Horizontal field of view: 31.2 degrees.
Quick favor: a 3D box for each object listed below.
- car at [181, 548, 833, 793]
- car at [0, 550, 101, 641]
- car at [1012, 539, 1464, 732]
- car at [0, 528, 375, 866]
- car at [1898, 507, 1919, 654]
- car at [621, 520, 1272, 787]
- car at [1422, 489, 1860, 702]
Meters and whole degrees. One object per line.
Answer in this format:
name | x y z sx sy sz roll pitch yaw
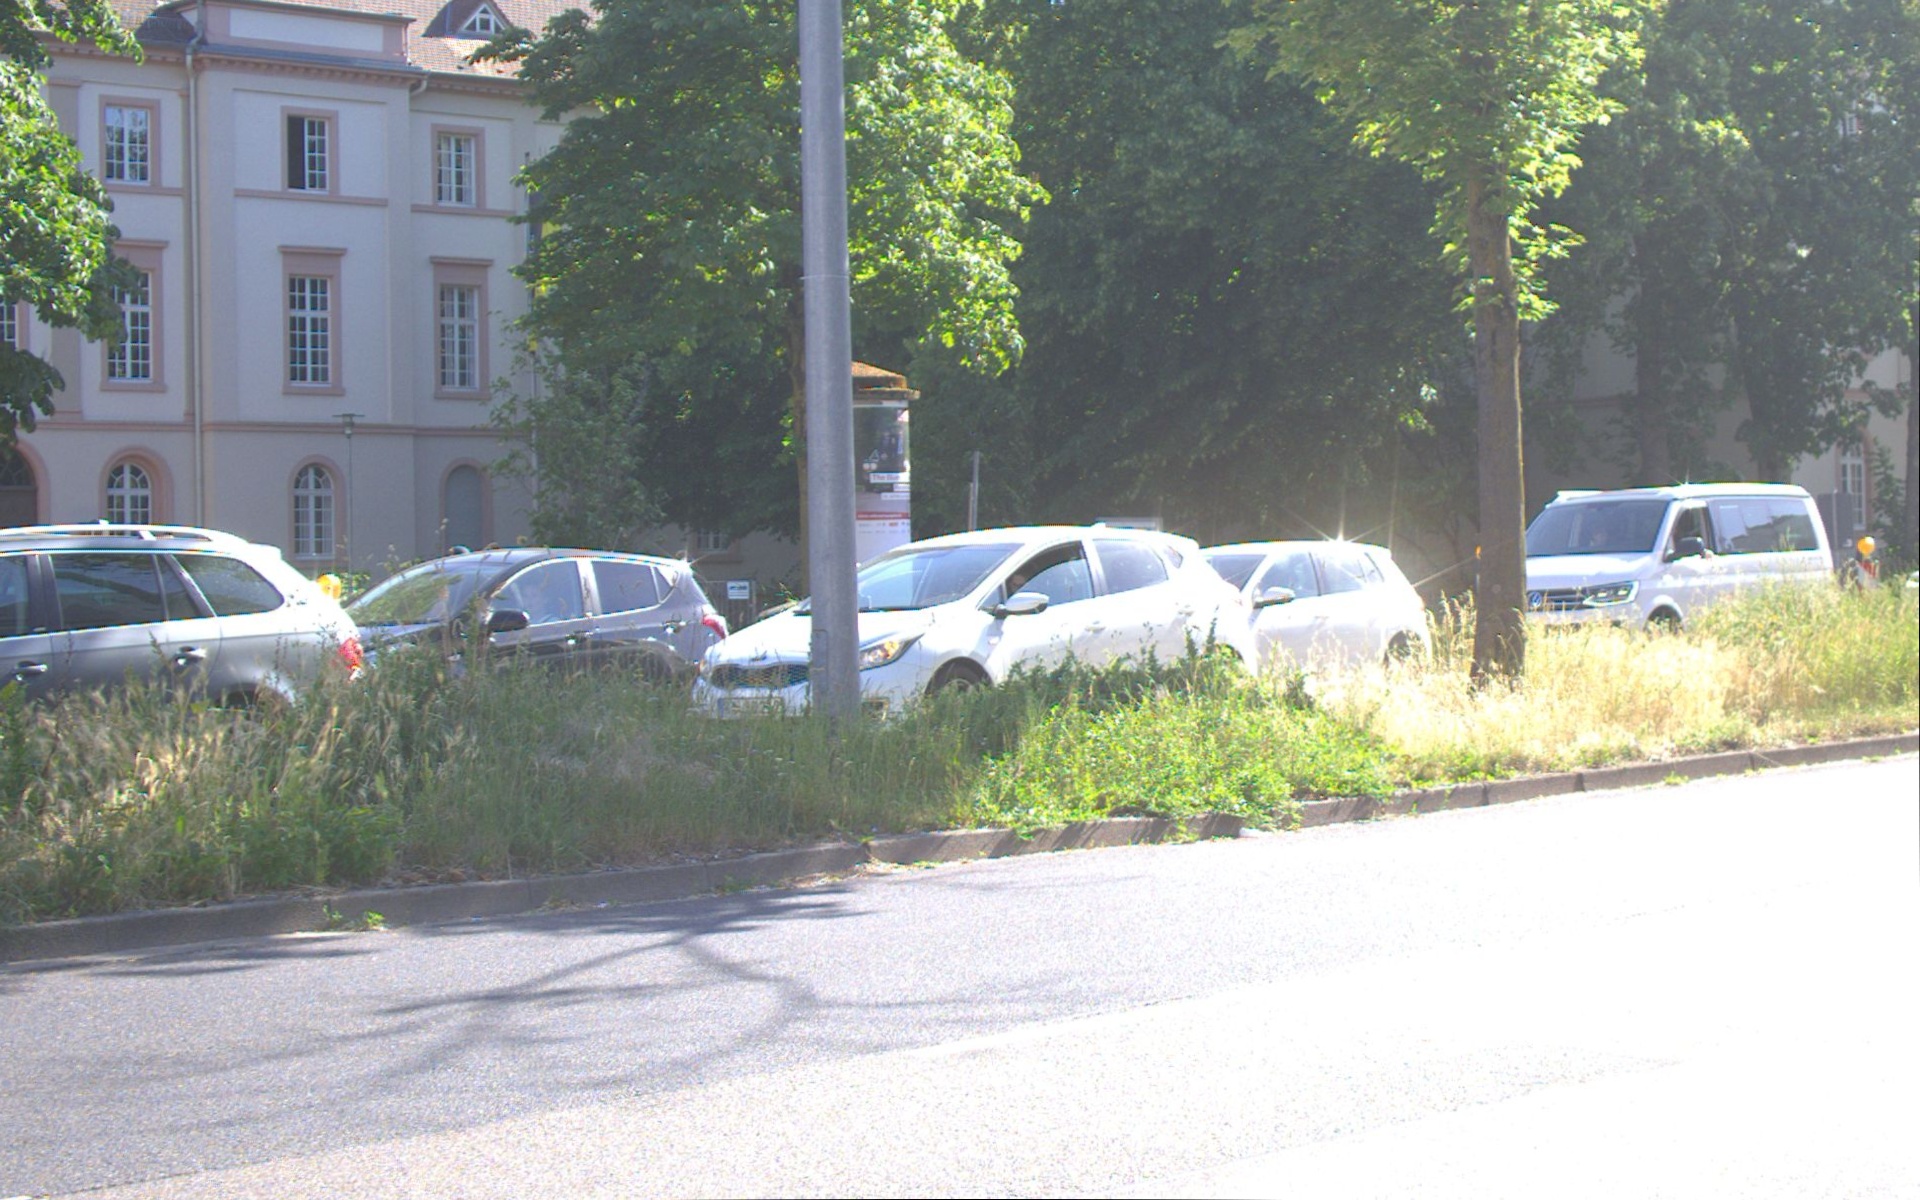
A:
car | -3.008 0.408 23.577 1.800 1.514 4.336 1 1 41
car | -17.014 -0.121 58.146 1.646 1.487 4.673 1 -1 41
car | 2.444 0.252 29.427 1.800 1.514 4.070 0 1 41
car | -5.034 0.437 16.174 1.800 1.514 4.353 1 2 41
car | 13.520 -0.278 42.349 1.800 1.737 5.020 0 1 41
car | 0.011 0.265 21.752 1.800 1.514 4.195 0 1 41
car | 7.061 -0.089 35.264 2.238 2.021 5.005 0 1 41
